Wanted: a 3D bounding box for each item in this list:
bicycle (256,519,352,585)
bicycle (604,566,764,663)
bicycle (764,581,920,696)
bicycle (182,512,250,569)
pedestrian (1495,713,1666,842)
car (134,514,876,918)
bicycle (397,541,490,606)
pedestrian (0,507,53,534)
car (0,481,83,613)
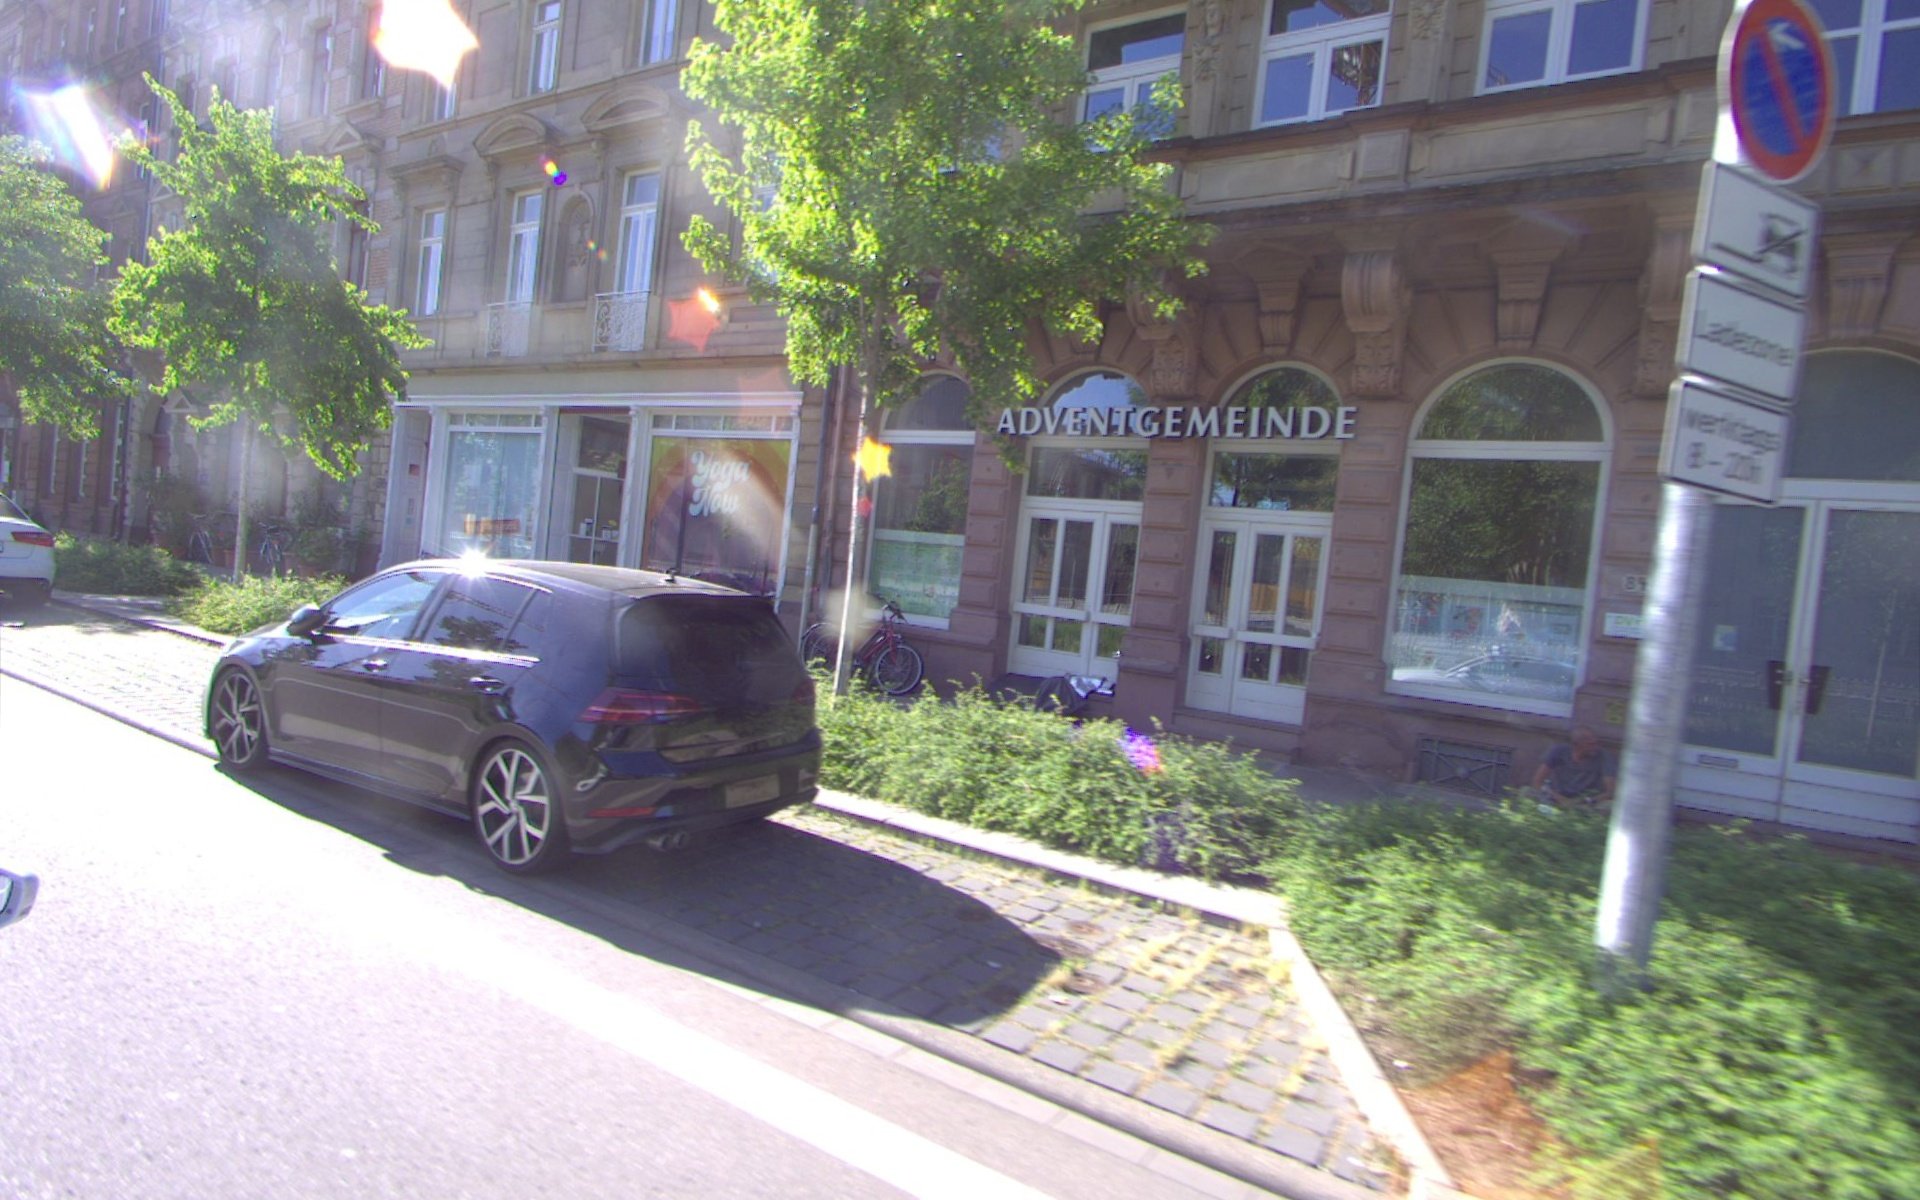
[{"bbox_3d":[-13.161,-0.975,20.163,2.162,1.105,0.721,7,2,32],"label":"bicycle"},{"bbox_3d":[-3.940,0.174,14.305,2.144,1.120,0.876,7,4,29],"label":"bicycle"},{"bbox_3d":[-1.488,0.460,12.562,1.771,1.217,0.748,6,2,32],"label":"bicycle"},{"bbox_3d":[-16.668,-1.345,22.523,2.023,1.105,0.481,7,2,32],"label":"bicycle"},{"bbox_3d":[5.142,1.448,8.416,0.962,0.828,0.873,6,-1,18],"label":"pedestrian"},{"bbox_3d":[-2.858,0.414,6.041,4.373,1.497,1.766,6,3,29],"label":"car"},{"bbox_3d":[-9.242,-0.485,17.985,1.979,0.957,0.447,7,1,32],"label":"bicycle"},{"bbox_3d":[-27.045,-2.302,29.017,1.974,0.560,0.774,7,1,32],"label":"pedestrian"},{"bbox_3d":[-13.329,-0.861,12.748,5.021,1.515,1.952,7,2,32],"label":"car"}]
